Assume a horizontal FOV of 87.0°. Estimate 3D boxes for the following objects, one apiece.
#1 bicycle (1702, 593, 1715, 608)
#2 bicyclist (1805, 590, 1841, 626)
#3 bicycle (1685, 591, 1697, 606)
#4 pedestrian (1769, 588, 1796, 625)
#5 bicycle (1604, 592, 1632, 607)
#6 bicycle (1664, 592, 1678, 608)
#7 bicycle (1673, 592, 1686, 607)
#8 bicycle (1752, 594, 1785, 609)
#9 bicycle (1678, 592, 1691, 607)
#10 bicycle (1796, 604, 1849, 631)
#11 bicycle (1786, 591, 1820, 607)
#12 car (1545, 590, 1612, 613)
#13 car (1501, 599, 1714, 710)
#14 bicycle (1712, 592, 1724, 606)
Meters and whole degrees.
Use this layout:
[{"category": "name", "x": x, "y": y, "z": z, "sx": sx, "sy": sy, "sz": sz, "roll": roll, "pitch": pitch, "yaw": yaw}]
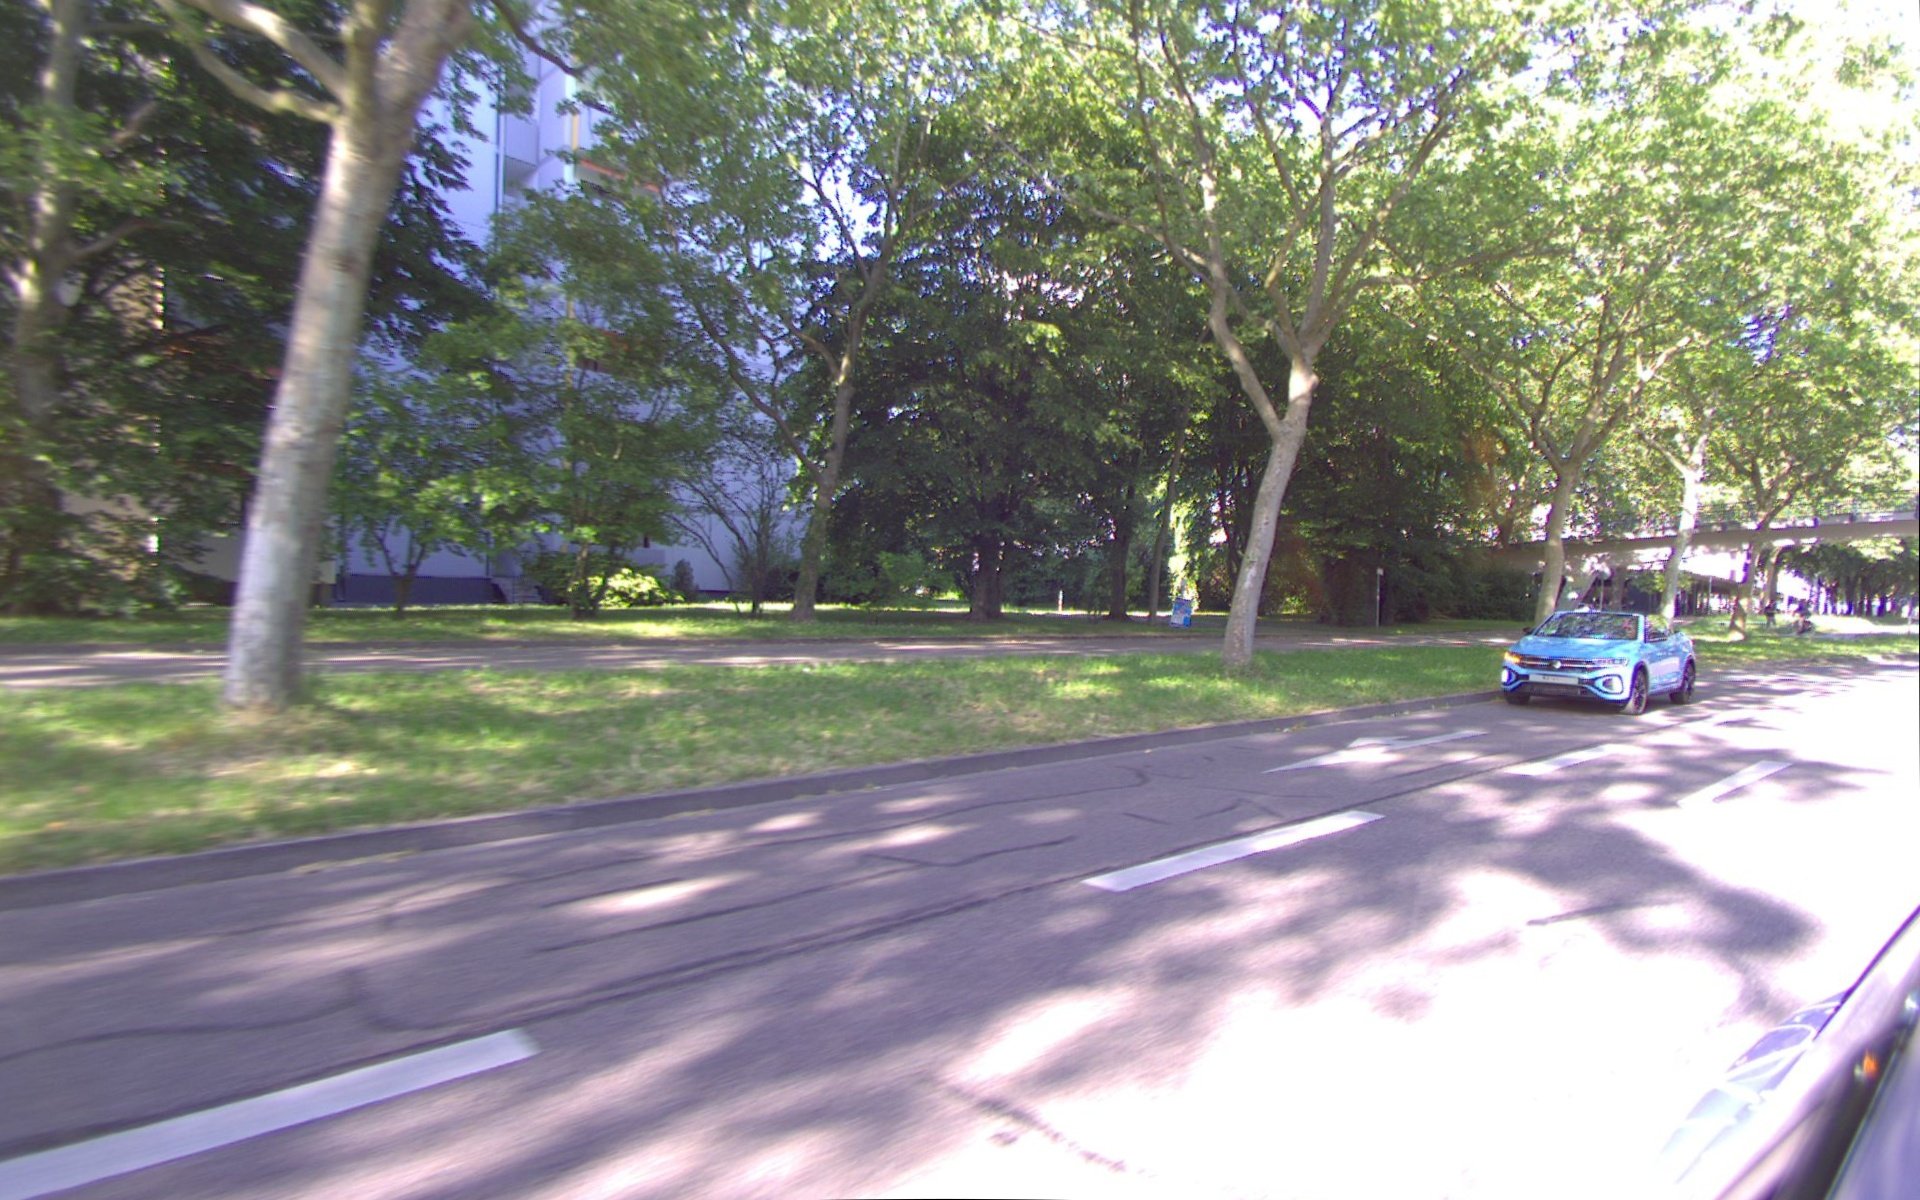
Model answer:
[{"category": "bicycle", "x": 63.396, "y": 0.069, "z": 85.689, "sx": 1.776, "sy": 1.269, "sz": 0.576, "roll": 0, "pitch": 0, "yaw": -44}, {"category": "bicyclist", "x": 42.320, "y": 0.387, "z": 49.648, "sx": 0.798, "sy": 1.652, "sz": 0.958, "roll": 3, "pitch": 1, "yaw": -5}, {"category": "bicycle", "x": 64.231, "y": -0.145, "z": 88.923, "sx": 1.776, "sy": 1.269, "sz": 0.576, "roll": 0, "pitch": 0, "yaw": -44}, {"category": "pedestrian", "x": 40.866, "y": 0.319, "z": 50.290, "sx": 0.725, "sy": 1.800, "sz": 0.661, "roll": 2, "pitch": -1, "yaw": -4}, {"category": "bicycle", "x": 53.669, "y": -0.066, "z": 82.557, "sx": 1.799, "sy": 1.129, "sz": 0.700, "roll": 2, "pitch": 3, "yaw": 41}, {"category": "bicycle", "x": 57.091, "y": -0.043, "z": 81.300, "sx": 1.776, "sy": 1.269, "sz": 0.576, "roll": 0, "pitch": 0, "yaw": -44}, {"category": "bicycle", "x": 59.830, "y": -0.068, "z": 84.128, "sx": 1.776, "sy": 1.269, "sz": 0.576, "roll": 0, "pitch": 0, "yaw": -44}, {"category": "bicycle", "x": 67.888, "y": 0.137, "z": 85.011, "sx": 0.550, "sy": 1.172, "sz": 2.077, "roll": 1, "pitch": 2, "yaw": -27}, {"category": "bicycle", "x": 61.255, "y": -0.082, "z": 85.595, "sx": 1.776, "sy": 1.269, "sz": 0.576, "roll": 0, "pitch": 0, "yaw": -44}, {"category": "bicycle", "x": 42.288, "y": 0.836, "z": 49.652, "sx": 0.798, "sy": 1.161, "sz": 1.840, "roll": 3, "pitch": 3, "yaw": -5}, {"category": "bicycle", "x": 68.567, "y": -0.071, "z": 82.363, "sx": 2.063, "sy": 1.172, "sz": 0.554, "roll": 3, "pitch": 2, "yaw": 38}, {"category": "car", "x": 44.051, "y": 0.080, "z": 72.107, "sx": 1.681, "sy": 1.515, "sz": 3.731, "roll": 3, "pitch": -2, "yaw": -44}, {"category": "car", "x": 10.190, "y": 0.763, "z": 15.814, "sx": 4.029, "sy": 1.502, "sz": 1.778, "roll": 1, "pitch": -1, "yaw": -42}, {"category": "bicycle", "x": 66.767, "y": -0.078, "z": 89.163, "sx": 1.776, "sy": 1.269, "sz": 0.576, "roll": 0, "pitch": 0, "yaw": -44}]
